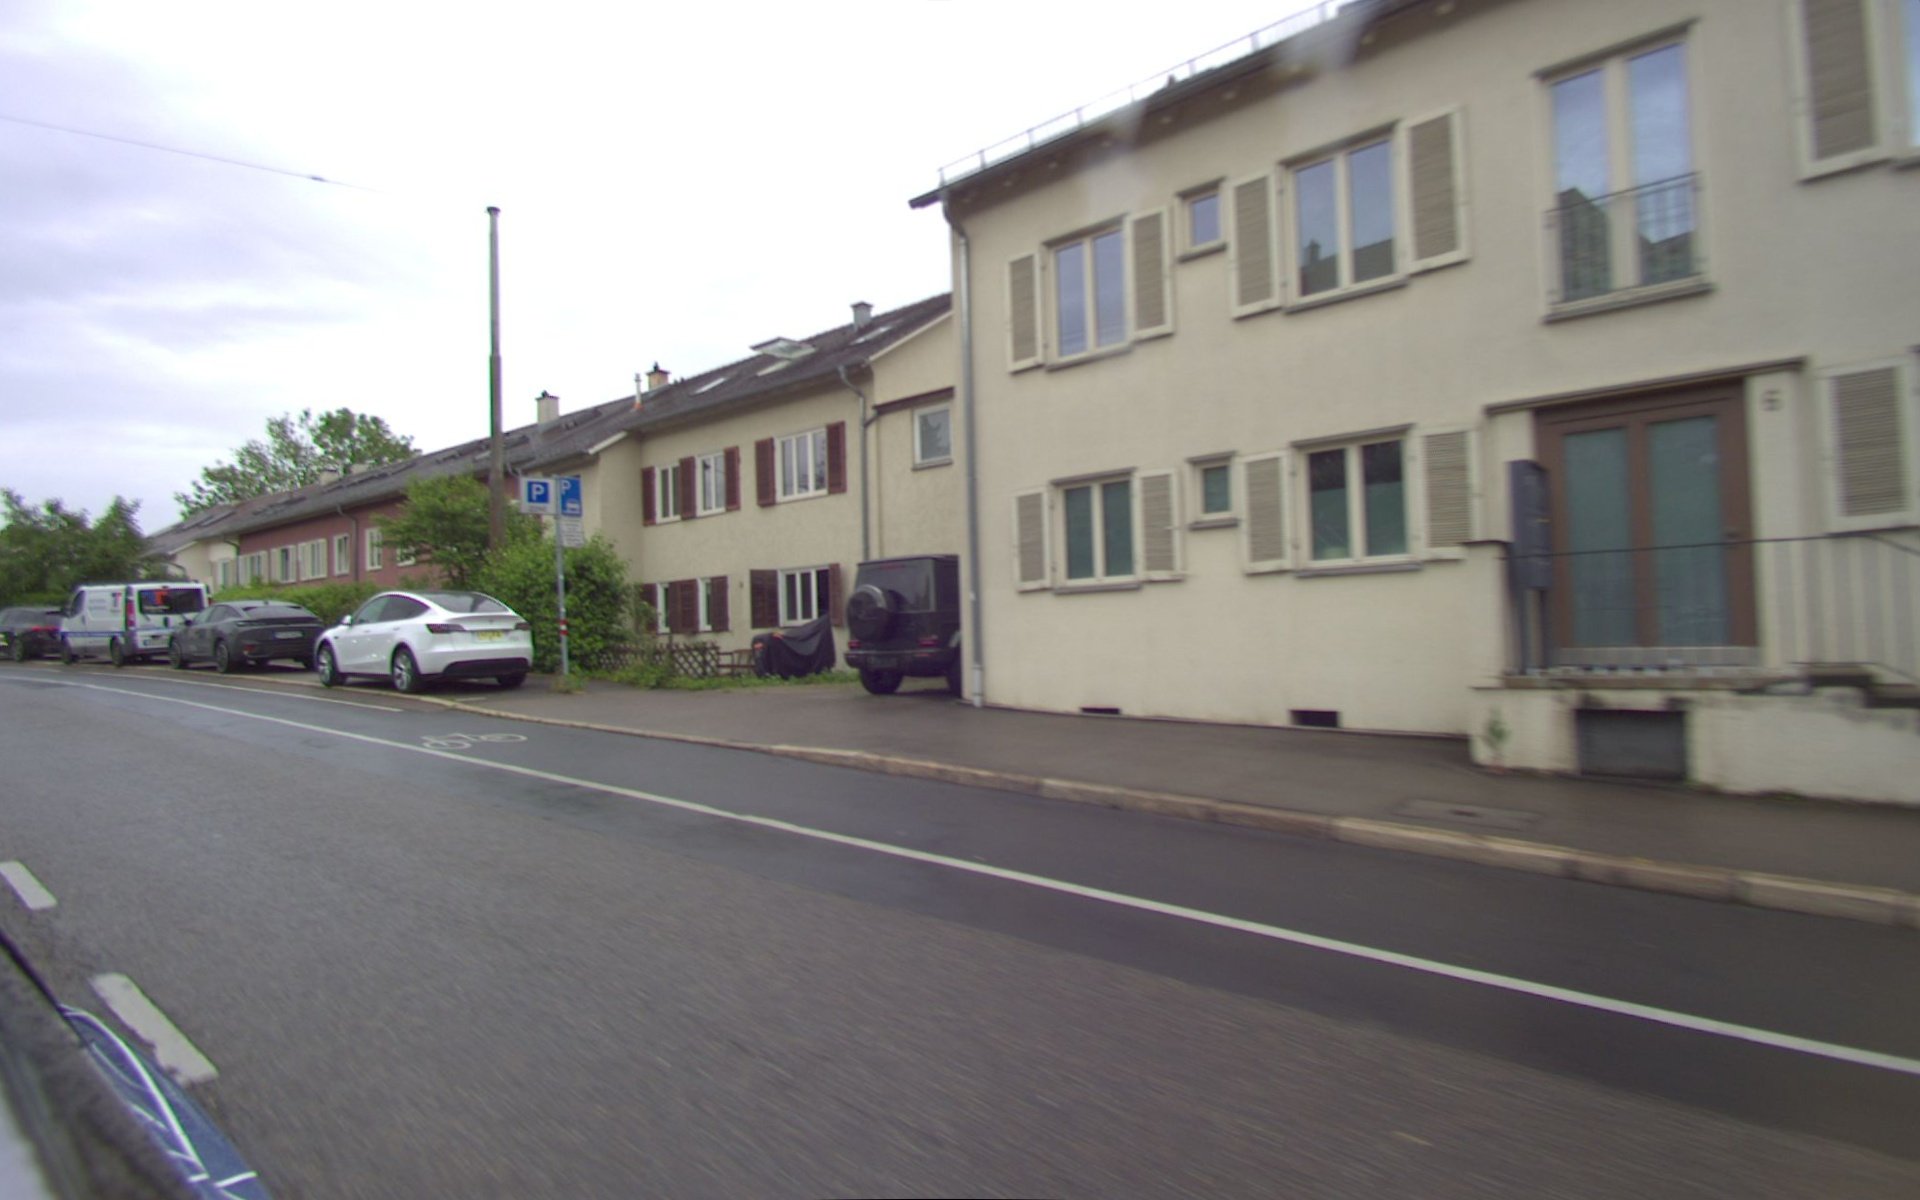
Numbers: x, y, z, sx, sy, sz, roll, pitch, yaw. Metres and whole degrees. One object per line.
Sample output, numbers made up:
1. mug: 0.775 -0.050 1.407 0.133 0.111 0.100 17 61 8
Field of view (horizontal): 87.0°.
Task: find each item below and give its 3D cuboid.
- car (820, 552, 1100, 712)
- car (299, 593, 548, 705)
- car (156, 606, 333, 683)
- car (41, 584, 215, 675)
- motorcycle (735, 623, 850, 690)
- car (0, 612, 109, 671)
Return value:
1. car: 0.164 0.455 15.178 1.885 2.029 4.446 -3 -2 37
2. car: -9.134 0.734 17.081 4.669 1.643 1.911 -1 0 37
3. car: -15.586 0.912 21.960 4.513 1.488 1.792 -1 0 36
4. car: -20.842 0.708 25.302 5.003 2.094 1.835 -1 0 31
5. motorcycle: -3.160 1.038 19.277 0.840 1.143 2.070 1 1 43
6. car: -25.612 1.093 27.786 4.498 1.488 1.798 -1 0 26
